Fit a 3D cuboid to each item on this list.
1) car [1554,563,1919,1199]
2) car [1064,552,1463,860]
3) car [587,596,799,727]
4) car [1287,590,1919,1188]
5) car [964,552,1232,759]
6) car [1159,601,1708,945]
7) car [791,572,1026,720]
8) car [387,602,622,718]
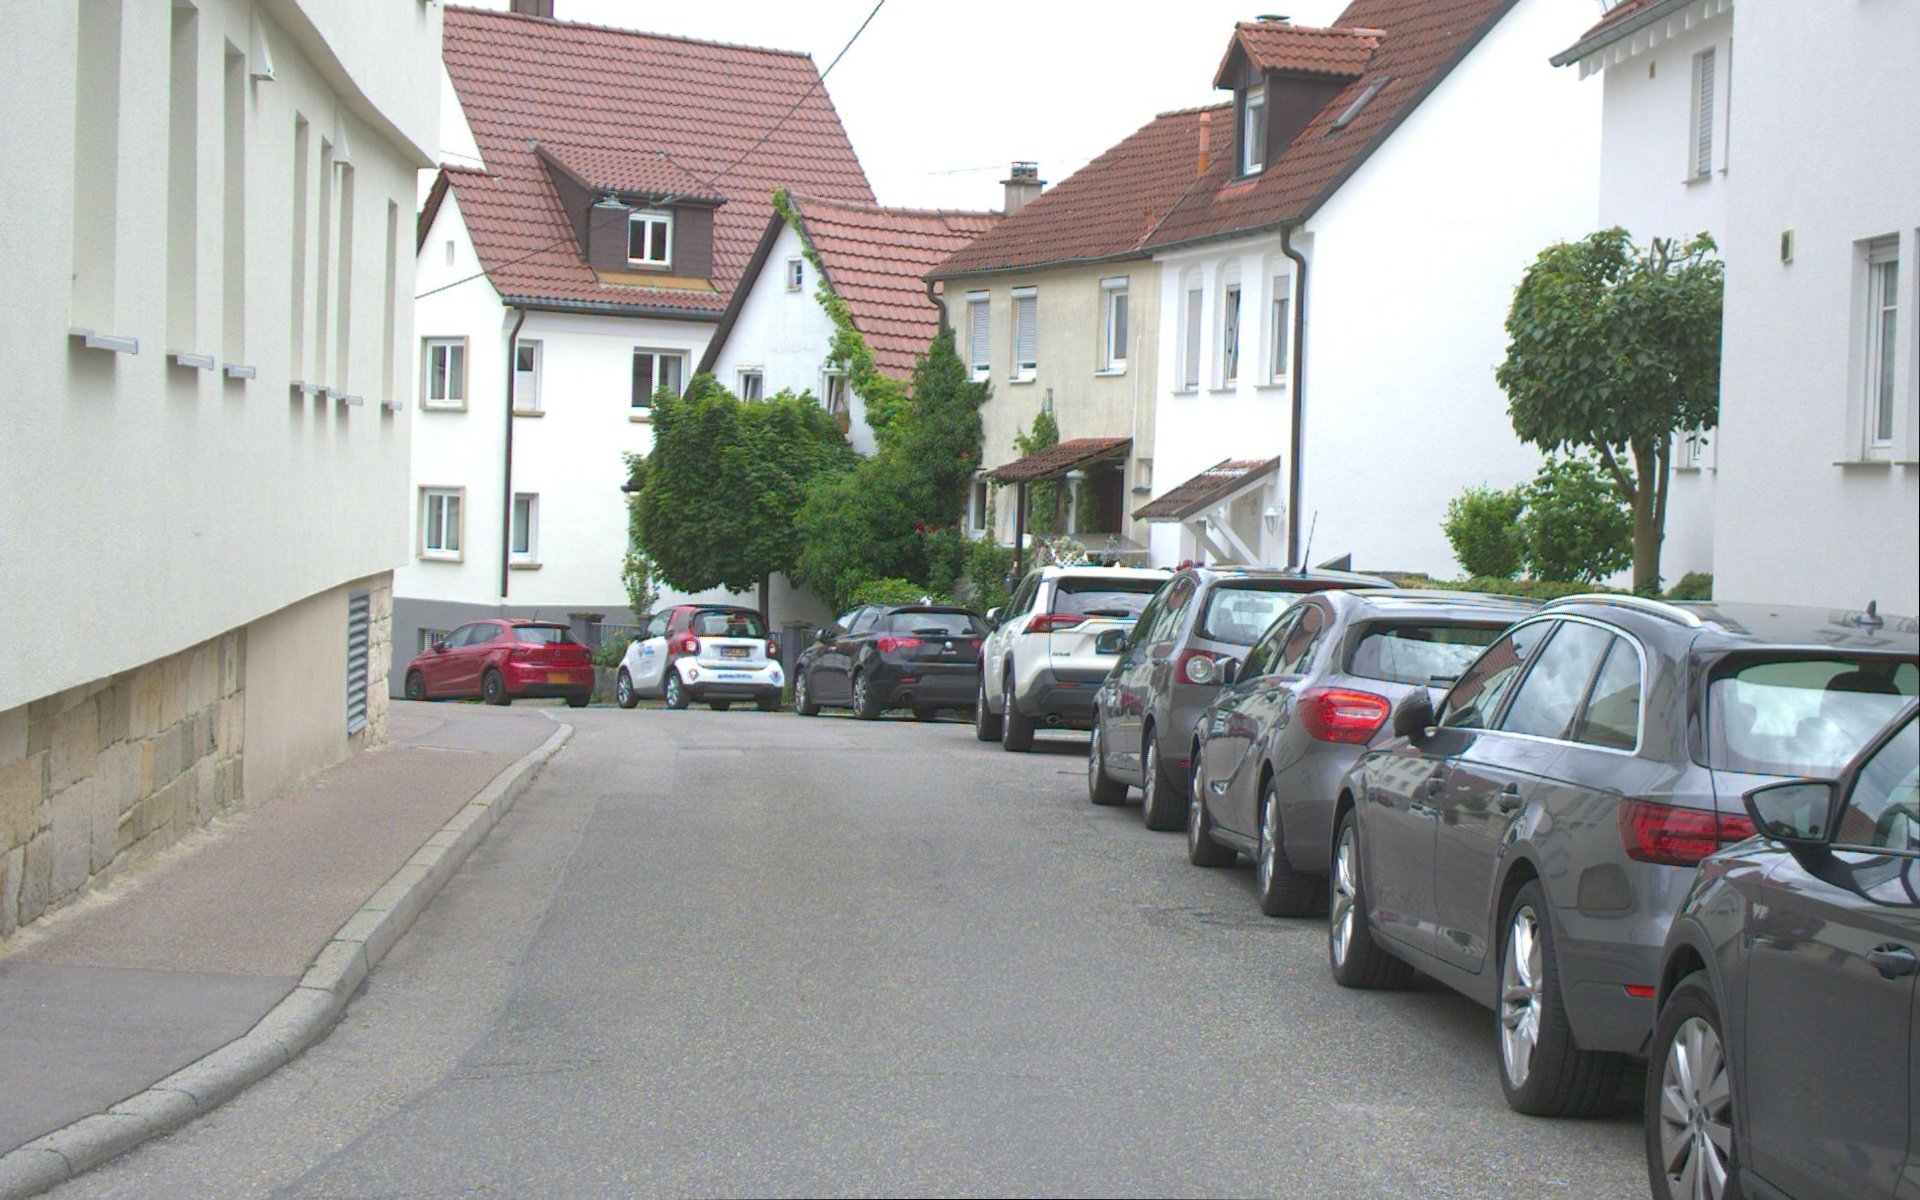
[{"bbox_3d":[2.359,0.813,5.949,1.753,1.622,4.535,3,1,-1],"label":"car"},{"bbox_3d":[1.762,0.590,21.225,1.736,1.605,4.000,4,0,-4],"label":"car"},{"bbox_3d":[-3.999,0.881,50.880,1.962,1.707,4.001,2,1,-22],"label":"car"},{"bbox_3d":[2.313,0.696,10.675,1.918,1.405,4.656,0,1,-3],"label":"car"},{"bbox_3d":[1.175,0.476,31.242,1.873,1.707,4.148,2,0,-5],"label":"car"},{"bbox_3d":[2.046,0.711,16.012,1.796,1.347,4.075,2,0,-2],"label":"car"},{"bbox_3d":[-0.686,0.583,41.947,1.993,1.707,4.001,1,-1,-14],"label":"car"},{"bbox_3d":[-7.463,0.995,56.108,1.994,1.678,3.999,-5,1,-37],"label":"car"}]
